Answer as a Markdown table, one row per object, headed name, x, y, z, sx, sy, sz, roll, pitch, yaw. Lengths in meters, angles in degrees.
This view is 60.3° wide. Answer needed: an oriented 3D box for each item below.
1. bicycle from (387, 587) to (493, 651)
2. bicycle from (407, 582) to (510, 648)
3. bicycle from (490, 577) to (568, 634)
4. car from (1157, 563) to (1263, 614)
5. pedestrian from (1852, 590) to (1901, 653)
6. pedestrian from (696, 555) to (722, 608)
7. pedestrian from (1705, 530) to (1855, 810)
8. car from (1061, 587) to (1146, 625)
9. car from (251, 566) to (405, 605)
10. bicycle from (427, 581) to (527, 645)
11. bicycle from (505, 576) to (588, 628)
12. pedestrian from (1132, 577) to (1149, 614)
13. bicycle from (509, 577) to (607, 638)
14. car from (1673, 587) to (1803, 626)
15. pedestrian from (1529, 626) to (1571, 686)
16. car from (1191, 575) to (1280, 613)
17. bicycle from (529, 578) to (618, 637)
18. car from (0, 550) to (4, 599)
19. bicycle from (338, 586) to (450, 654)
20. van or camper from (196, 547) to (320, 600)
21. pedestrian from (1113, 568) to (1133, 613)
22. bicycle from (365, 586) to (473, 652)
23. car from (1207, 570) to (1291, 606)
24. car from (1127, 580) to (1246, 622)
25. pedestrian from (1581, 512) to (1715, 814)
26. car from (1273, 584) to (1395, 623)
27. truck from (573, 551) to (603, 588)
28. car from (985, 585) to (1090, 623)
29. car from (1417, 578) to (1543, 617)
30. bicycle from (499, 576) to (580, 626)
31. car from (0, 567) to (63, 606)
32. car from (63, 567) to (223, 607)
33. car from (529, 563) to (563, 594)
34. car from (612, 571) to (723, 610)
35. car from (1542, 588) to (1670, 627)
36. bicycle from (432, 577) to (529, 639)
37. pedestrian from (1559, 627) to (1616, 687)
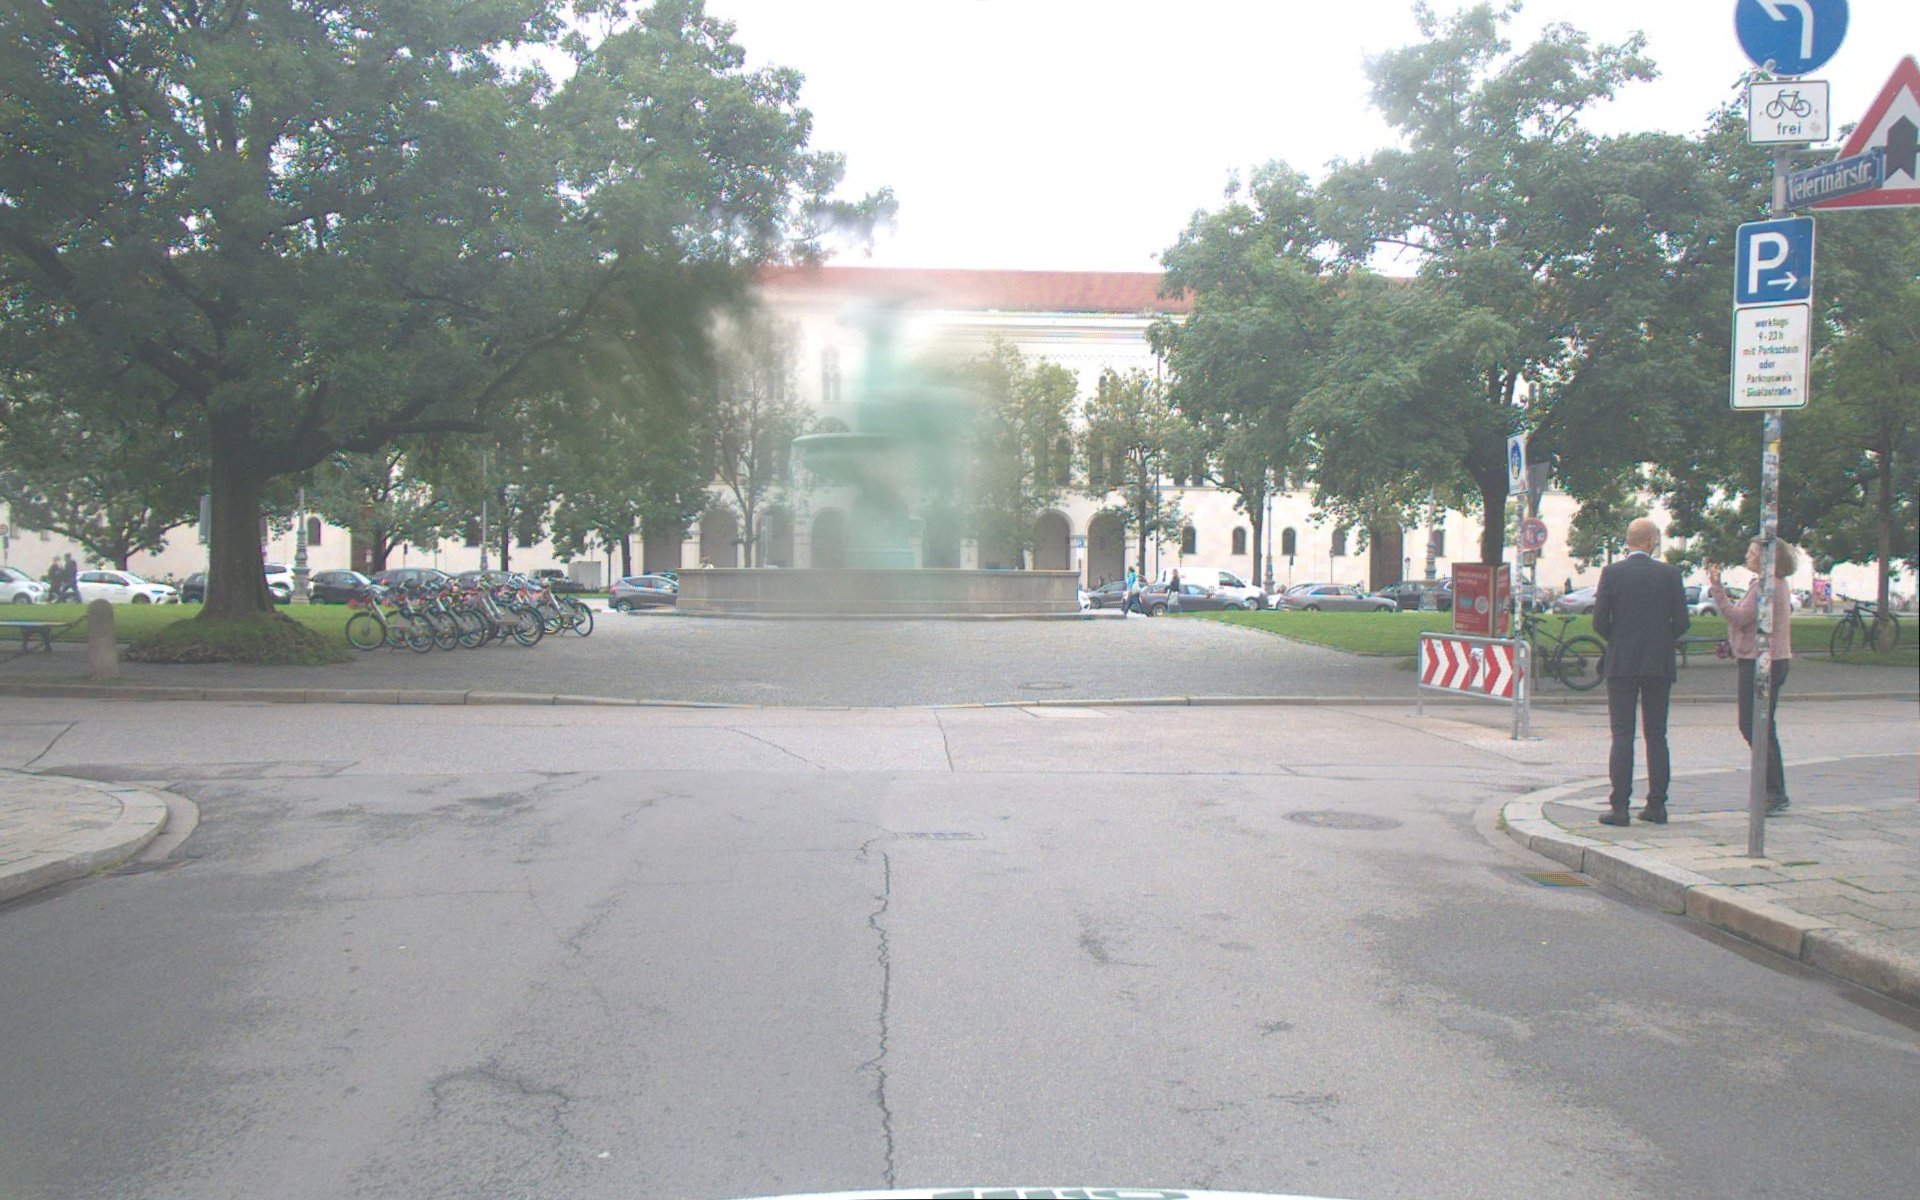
| name | x | y | z | sx | sy | sz | roll | pitch | yaw |
| --- | --- | --- | --- | --- | --- | --- | --- | --- | --- |
| bicycle | -8.991 | 0.315 | 28.633 | 1.584 | 1.053 | 0.699 | 1 | 1 | 8 |
| bicycle | -8.900 | 0.258 | 29.383 | 1.584 | 1.118 | 0.699 | 1 | 1 | 8 |
| bicycle | -8.759 | 0.098 | 33.604 | 1.371 | 1.118 | 0.657 | 1 | 1 | 8 |
| car | 10.678 | -0.501 | 70.786 | 4.237 | 2.048 | 1.824 | 1 | 1 | 1 |
| pedestrian | 16.123 | 0.374 | 29.101 | 0.519 | 1.084 | 0.618 | 1 | 1 | 2 |
| pedestrian | -7.982 | -0.598 | 52.675 | 0.736 | 1.668 | 0.710 | 0 | 1 | -3 |
| pedestrian | 5.183 | 0.431 | 10.474 | 0.609 | 1.711 | 0.544 | 2 | 1 | -9 |
| car | 7.043 | 0.279 | 81.312 | 3.908 | 1.780 | 1.807 | 1 | 1 | -4 |
| car | -23.521 | -0.543 | 61.685 | 4.973 | 1.400 | 1.999 | 0 | 1 | -4 |
| bicycle | -8.787 | 0.225 | 30.109 | 1.584 | 1.118 | 0.699 | 1 | 1 | 8 |
| bicycle | -8.620 | 0.041 | 34.522 | 1.503 | 1.037 | 0.699 | 1 | 1 | 8 |
| pedestrian | 6.106 | -0.151 | 55.868 | 0.434 | 1.235 | 0.535 | 1 | 1 | 23 |
| bicycle | -7.771 | 0.132 | 31.994 | 1.673 | 1.118 | 0.699 | 1 | 1 | 8 |
| car | 30.358 | 0.239 | 64.600 | 4.269 | 1.443 | 1.803 | 0 | 1 | -1 |
| pedestrian | 8.005 | 0.759 | 22.456 | 0.406 | 0.776 | 0.460 | 1 | 1 | 2 |
| car | 13.571 | -0.314 | 81.552 | 4.018 | 1.771 | 1.744 | 1 | 1 | -6 |
| bicycle | -7.627 | 0.137 | 32.674 | 1.584 | 1.118 | 0.617 | 1 | 1 | 8 |
| car | -42.326 | -1.049 | 68.350 | 4.445 | 2.048 | 2.000 | 0 | 1 | -1 |
| bicycle | -9.264 | 0.313 | 27.110 | 1.584 | 1.053 | 0.699 | 1 | 1 | 8 |
| van or camper | -30.504 | -1.142 | 72.004 | 4.491 | 2.049 | 1.998 | -2 | 0 | -5 |
| pedestrian | 5.512 | -0.319 | 55.924 | 0.570 | 1.491 | 0.548 | 0 | 1 | 21 |
| bicycle | -9.110 | 0.311 | 27.875 | 1.584 | 1.053 | 0.699 | 1 | 1 | 8 |
| car | 15.002 | -0.634 | 85.870 | 3.909 | 1.815 | 1.930 | 1 | 1 | -5 |
| car | 8.571 | 0.026 | 62.921 | 4.269 | 1.551 | 1.803 | 0 | 1 | -1 |
| pedestrian | 4.296 | 0.381 | 10.352 | 0.628 | 1.839 | 0.489 | 0 | 1 | 3 |
| car | 14.330 | 0.137 | 63.481 | 4.269 | 1.443 | 1.803 | 0 | 1 | -1 |
| truck | -26.093 | -2.152 | 115.909 | 1.959 | 2.532 | 3.987 | 1 | 1 | -13 |
| car | 2.908 | 0.137 | 62.976 | 3.905 | 1.427 | 1.824 | 0 | 1 | 0 |
| car | 19.897 | -0.095 | 63.381 | 4.269 | 1.443 | 1.803 | 0 | 1 | -1 |
| bicycle | -9.000 | 0.011 | 35.432 | 1.503 | 1.037 | 0.699 | 1 | 1 | 8 |
| car | -35.187 | -0.499 | 60.704 | 3.599 | 1.400 | 1.602 | 0 | 1 | -4 |
| car | -30.119 | -0.491 | 61.082 | 4.870 | 1.400 | 1.999 | 0 | 1 | -4 |
| car | -28.470 | -1.491 | 113.677 | 2.097 | 2.048 | 4.174 | 1 | 1 | -16 |
| car | -10.966 | -0.360 | 62.155 | 3.908 | 1.400 | 1.999 | 0 | 1 | -4 |
| car | 24.984 | 0.290 | 64.075 | 4.269 | 1.443 | 1.803 | 0 | 1 | -1 |
| bicycle | -9.001 | 0.149 | 31.061 | 1.584 | 1.118 | 0.699 | 1 | 1 | 8 |
| pedestrian | 8.509 | 0.768 | 22.445 | 0.557 | 0.776 | 0.567 | 1 | 1 | 2 |
